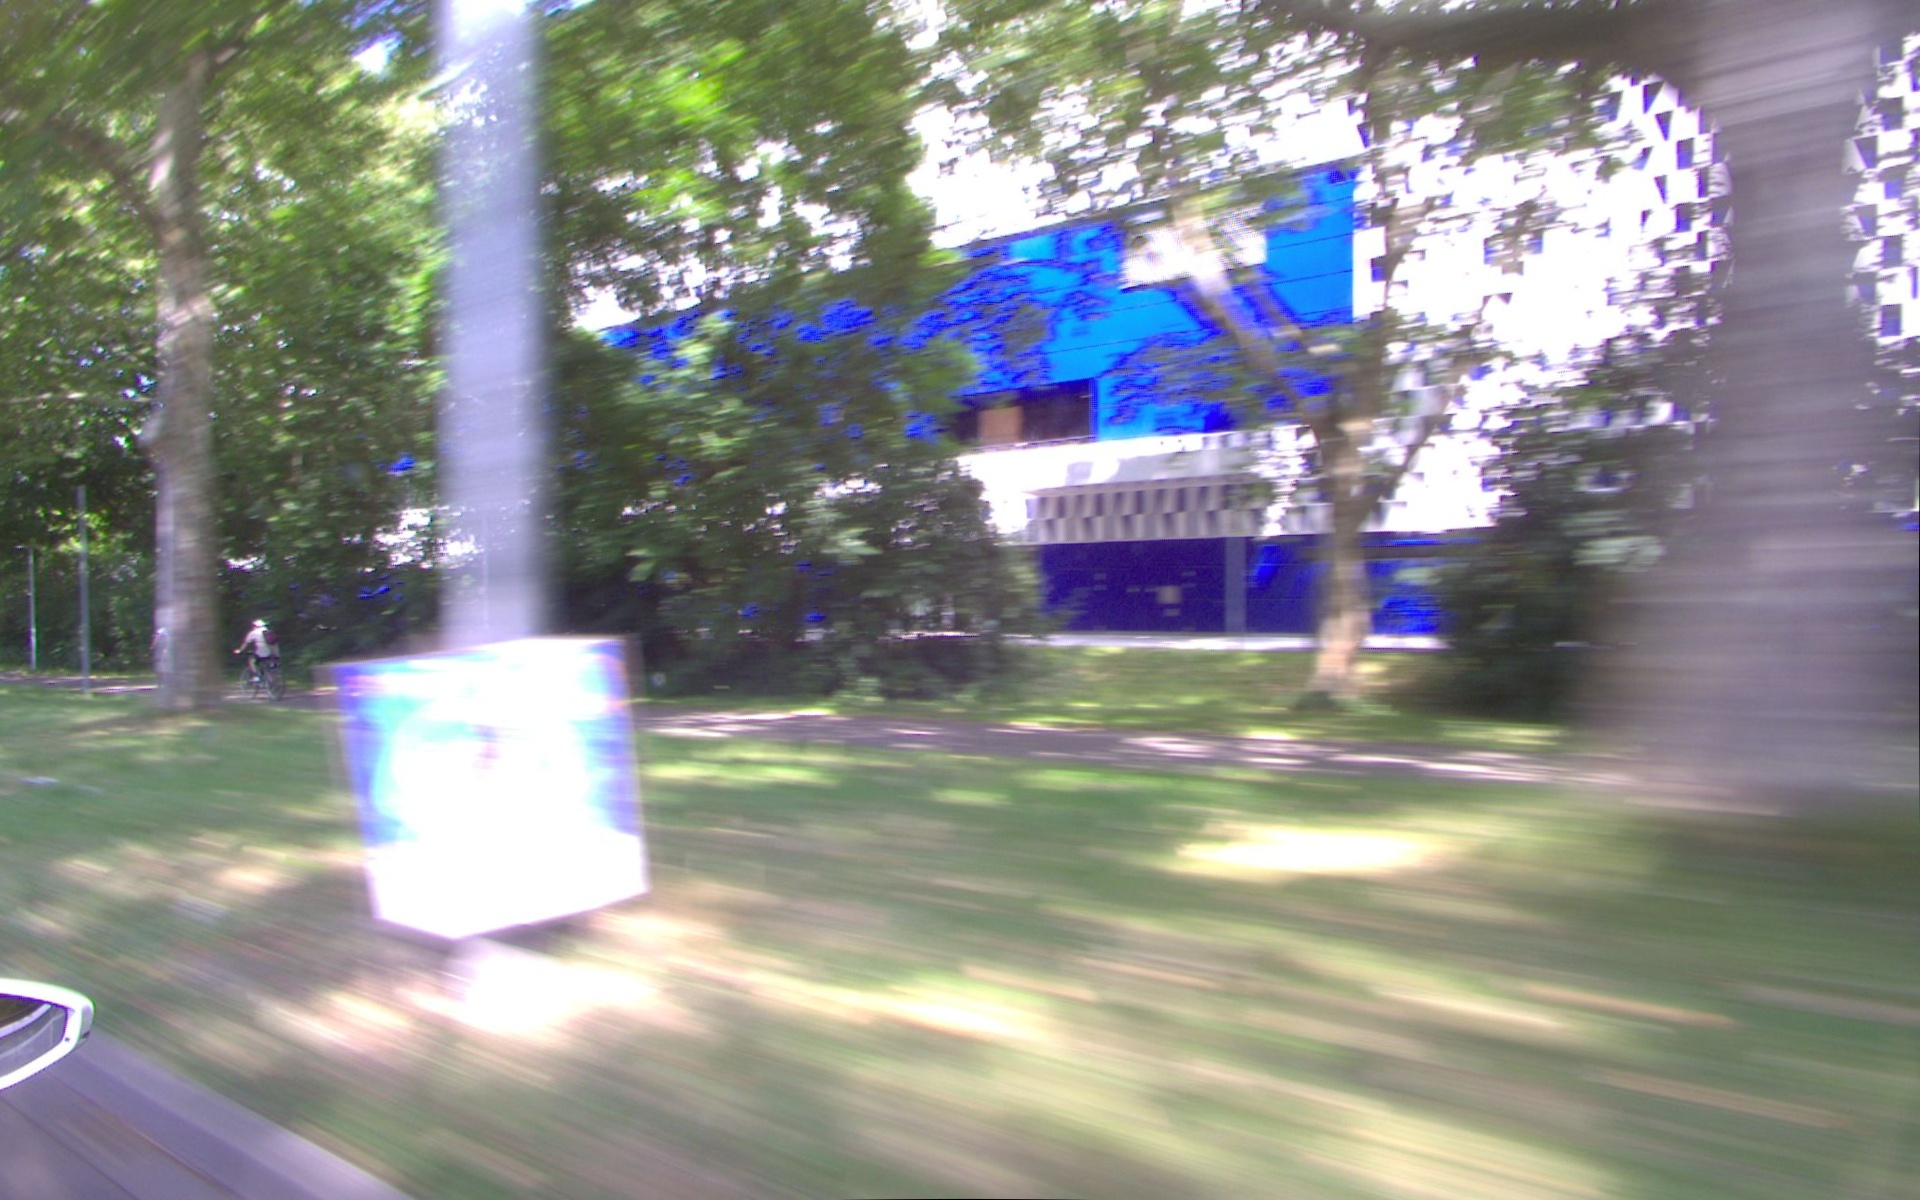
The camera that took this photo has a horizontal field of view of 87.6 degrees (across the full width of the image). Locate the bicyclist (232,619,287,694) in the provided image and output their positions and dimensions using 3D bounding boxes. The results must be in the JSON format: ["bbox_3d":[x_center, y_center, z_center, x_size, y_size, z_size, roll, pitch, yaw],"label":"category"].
[{"bbox_3d":[-15.493,1.230,22.150,1.038,1.620,0.657,-1,0,33],"label":"bicyclist"}]

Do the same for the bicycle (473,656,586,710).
[{"bbox_3d":[-7.773,1.476,18.082,1.988,0.898,0.646,-1,0,21],"label":"bicycle"}]

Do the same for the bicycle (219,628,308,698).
[{"bbox_3d":[-15.413,1.360,22.132,2.623,1.438,0.609,-1,0,32],"label":"bicycle"}]

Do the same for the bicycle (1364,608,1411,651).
[{"bbox_3d":[10.214,0.694,23.870,0.855,0.981,2.058,0,-1,28],"label":"bicycle"}]

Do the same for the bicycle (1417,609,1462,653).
[{"bbox_3d":[11.256,0.718,23.485,0.855,0.981,2.058,0,-1,28],"label":"bicycle"}]

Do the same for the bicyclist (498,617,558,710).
[{"bbox_3d":[-7.790,1.120,18.069,0.803,1.631,0.623,0,0,22],"label":"bicyclist"}]

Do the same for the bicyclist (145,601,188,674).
[{"bbox_3d":[-19.700,0.919,24.855,0.831,1.769,0.596,0,0,32],"label":"bicyclist"}]

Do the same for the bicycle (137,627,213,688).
[{"bbox_3d":[-19.525,1.404,24.888,2.623,1.438,0.609,-1,0,32],"label":"bicycle"}]
